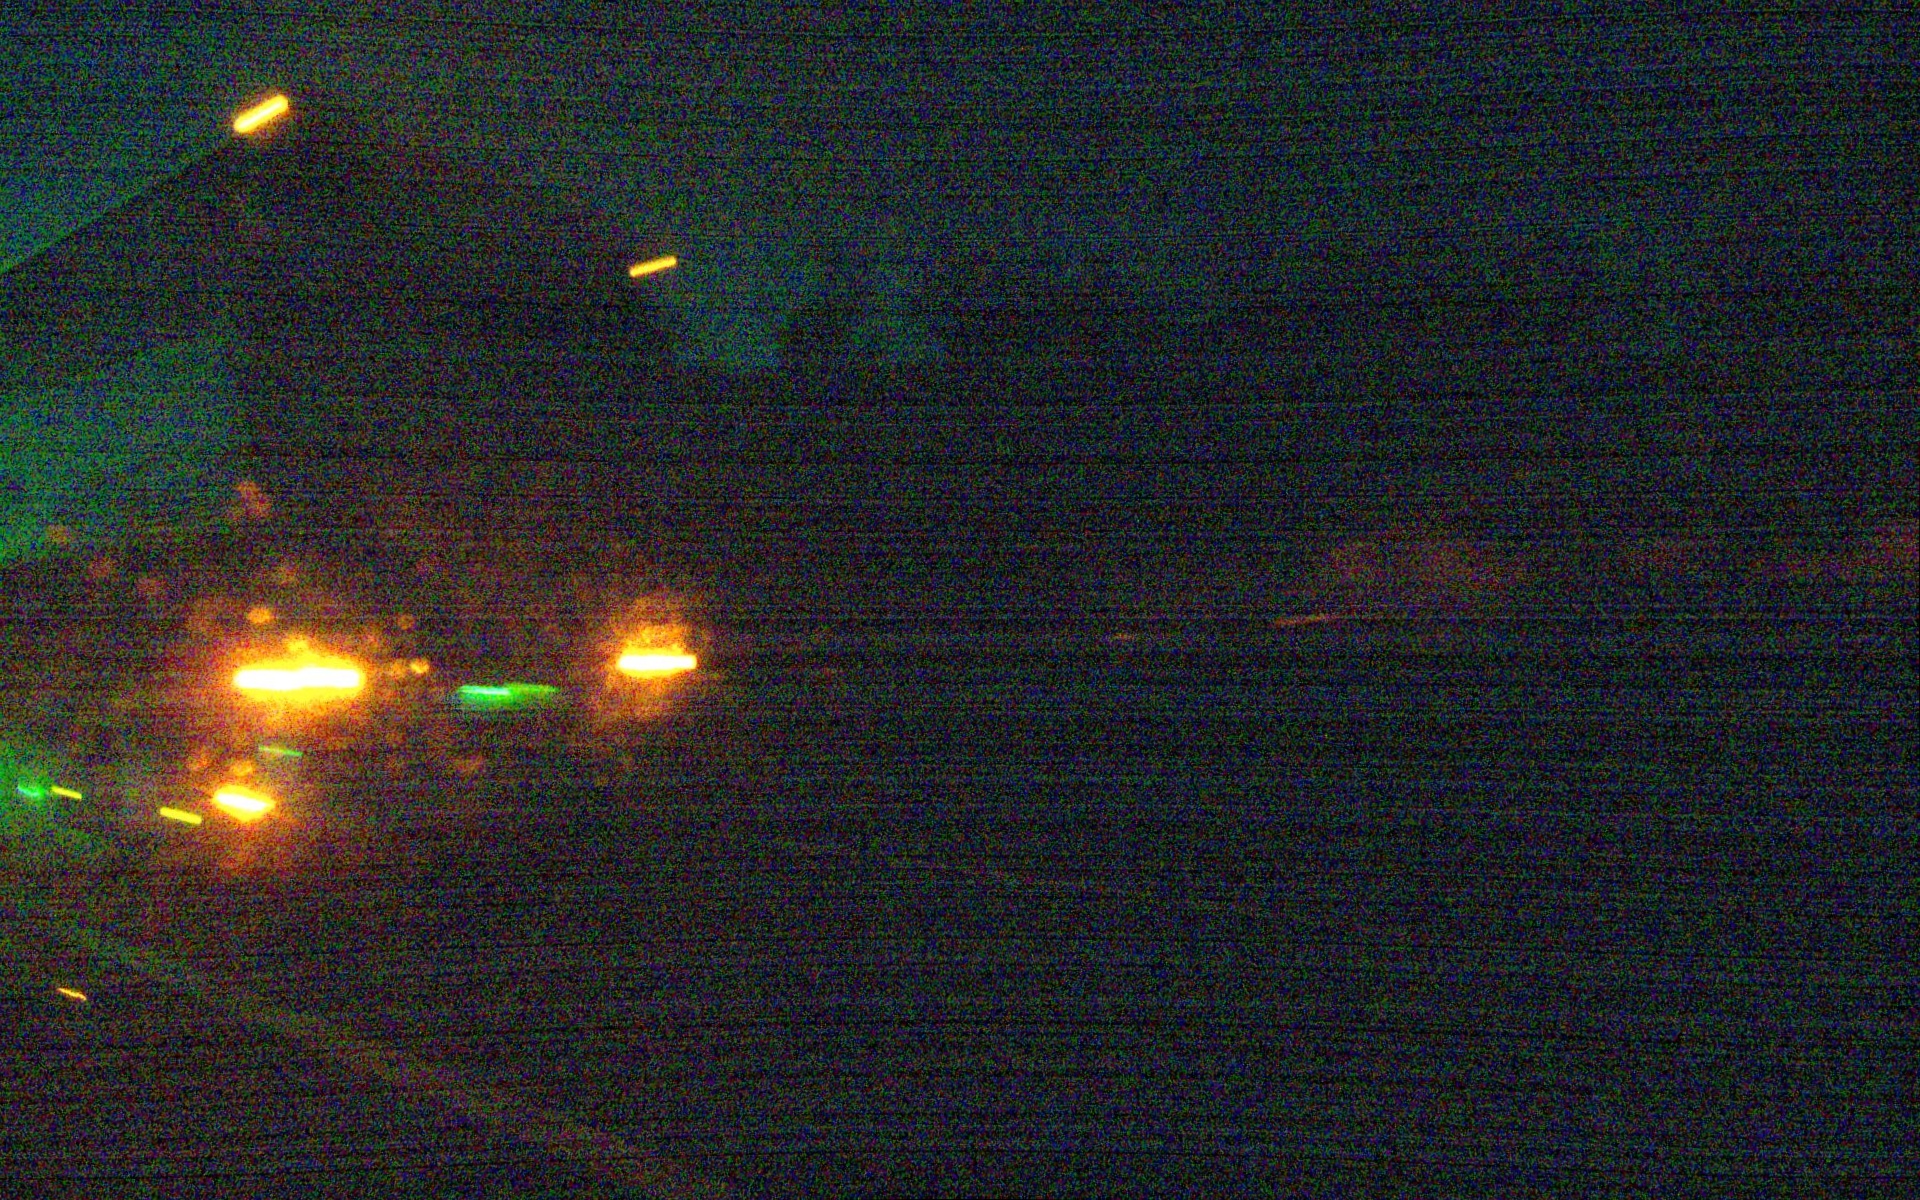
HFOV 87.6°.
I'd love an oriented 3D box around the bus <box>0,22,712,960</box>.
[{"bbox_3d":[-8.469,-0.301,9.287,14.491,4.044,2.648,-1,-2,32],"label":"bus"}]
